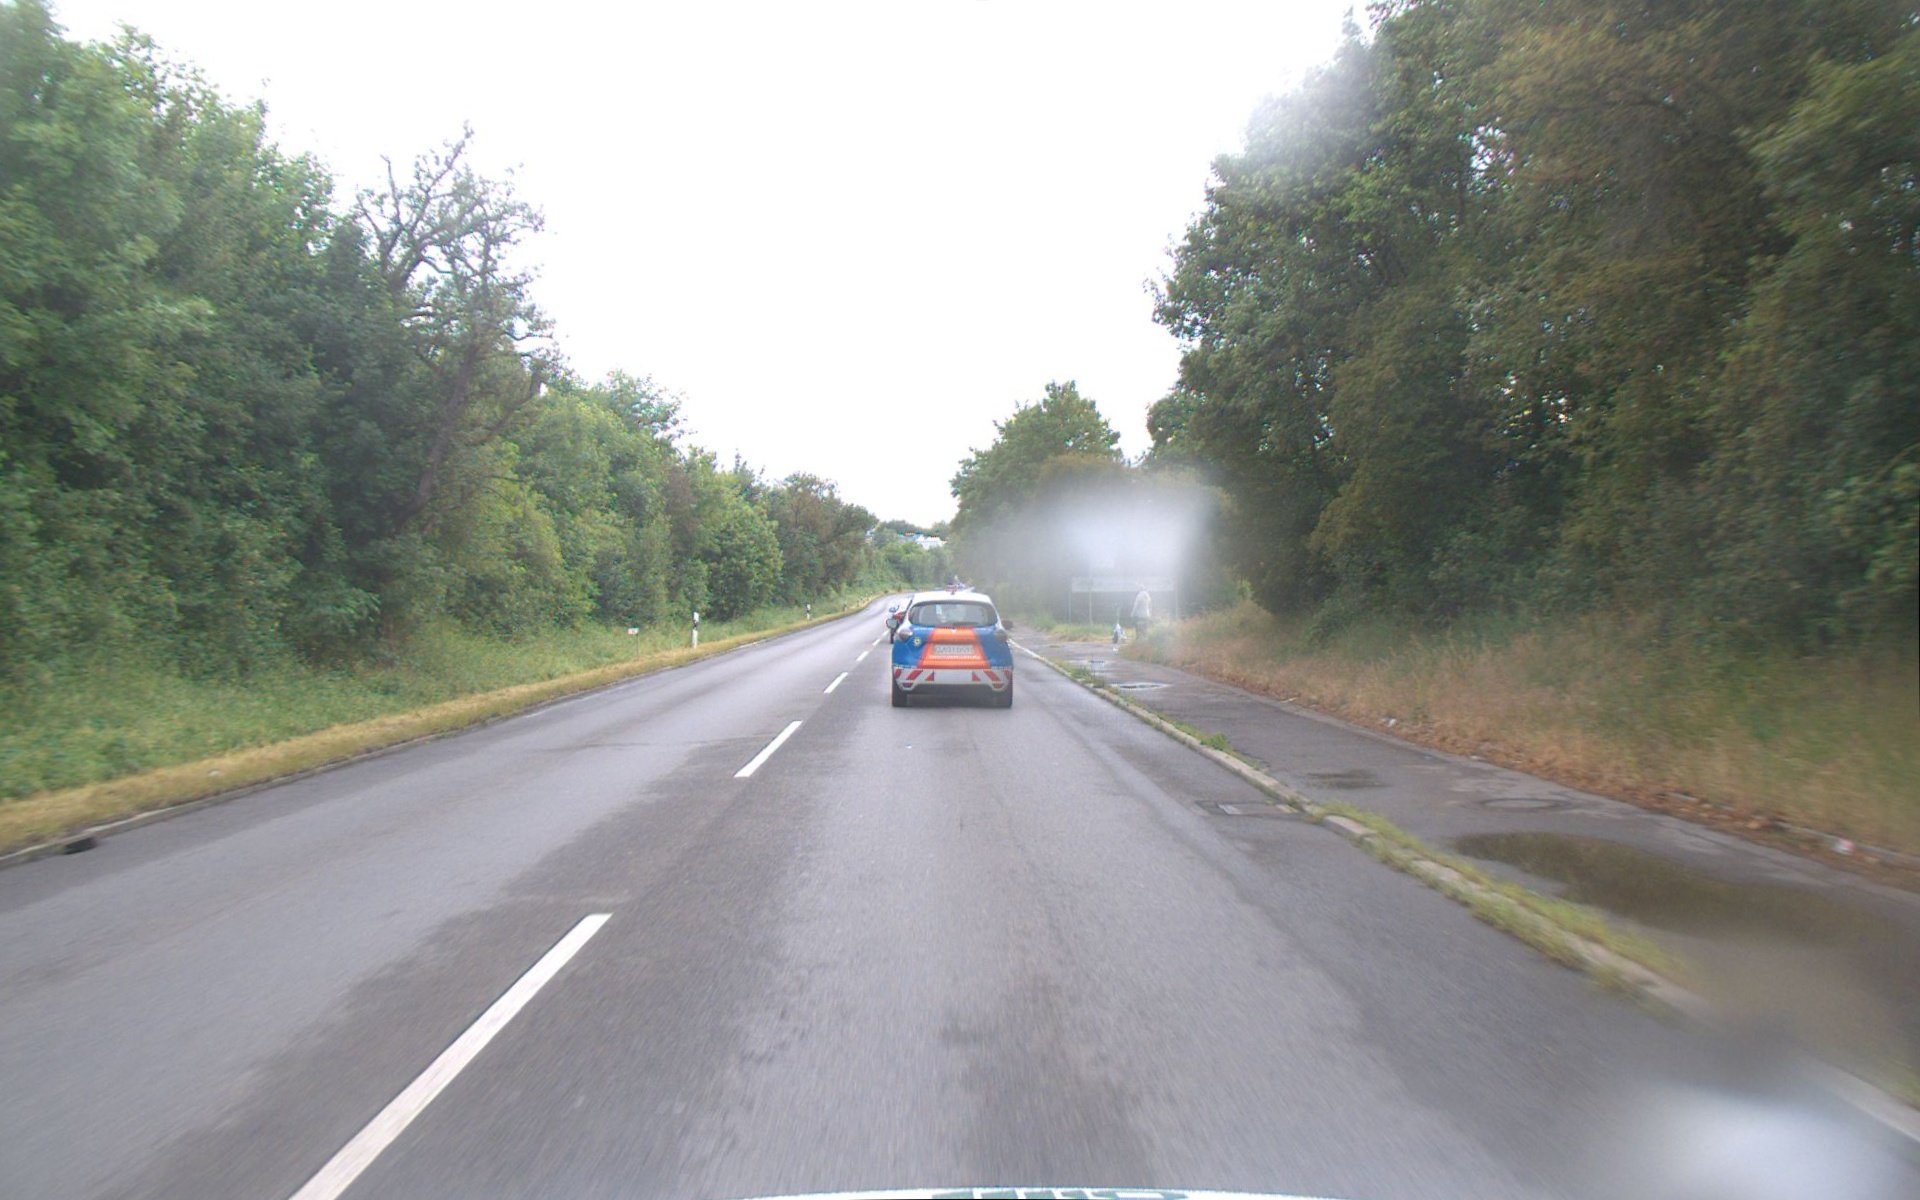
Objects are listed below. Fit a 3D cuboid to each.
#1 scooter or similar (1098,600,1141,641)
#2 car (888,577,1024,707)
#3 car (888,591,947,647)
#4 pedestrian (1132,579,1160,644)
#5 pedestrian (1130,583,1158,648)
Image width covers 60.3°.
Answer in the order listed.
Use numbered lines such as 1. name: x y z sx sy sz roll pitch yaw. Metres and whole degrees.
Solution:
1. scooter or similar: 4.824 0.619 50.104 1.303 1.227 0.372 -1 0 40
2. car: -0.096 0.564 24.030 1.769 1.697 3.854 2 0 -2
3. car: -1.292 0.575 51.787 1.659 1.623 3.856 2 0 0
4. pedestrian: 5.411 0.344 48.060 0.679 1.859 0.801 -1 0 -1
5. pedestrian: 5.253 0.437 47.263 0.647 1.810 0.760 -1 0 -1
